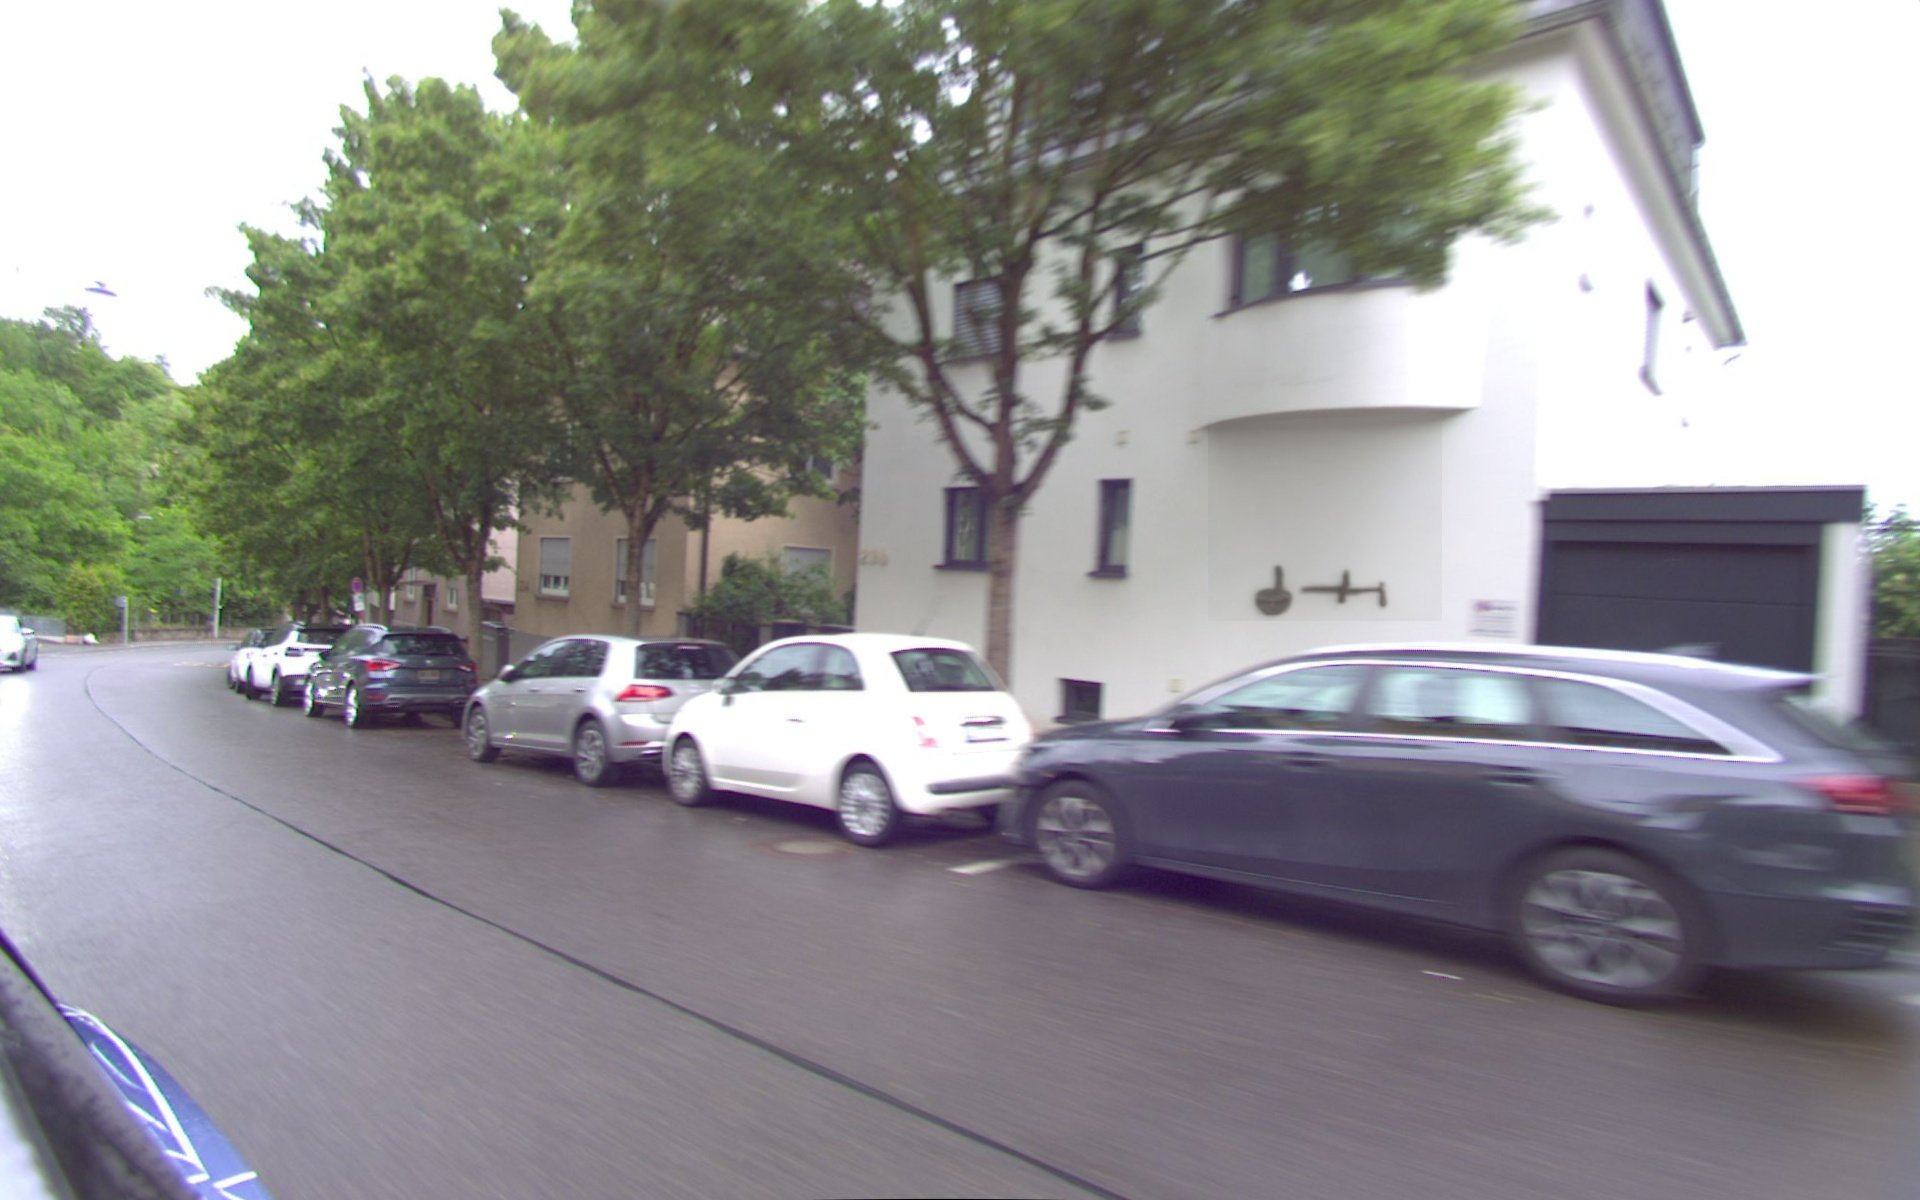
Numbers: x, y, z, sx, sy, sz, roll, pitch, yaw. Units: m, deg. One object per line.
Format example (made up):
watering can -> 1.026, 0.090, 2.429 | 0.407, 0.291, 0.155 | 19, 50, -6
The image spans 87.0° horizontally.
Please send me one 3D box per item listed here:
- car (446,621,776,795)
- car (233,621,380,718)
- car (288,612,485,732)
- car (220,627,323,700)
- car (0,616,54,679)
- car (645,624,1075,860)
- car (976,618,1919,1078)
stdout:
car -> -3.870, 1.050, 10.888 | 3.972, 1.481, 1.600 | 0, -5, 43
car -> -13.111, 1.336, 20.211 | 1.574, 1.671, 3.926 | 10, -7, -44
car -> -9.233, 1.095, 16.160 | 3.925, 1.671, 1.599 | -1, -6, 45
car -> -16.282, 1.462, 23.861 | 1.597, 1.482, 3.675 | 9, -7, -38
car -> -27.468, 1.297, 28.620 | 1.980, 1.674, 4.457 | 3, -3, -33
car -> -0.938, 1.015, 8.245 | 3.470, 1.500, 1.556 | -2, -7, 44
car -> 2.326, 0.924, 5.383 | 4.475, 1.500, 1.646 | 0, -5, 43
